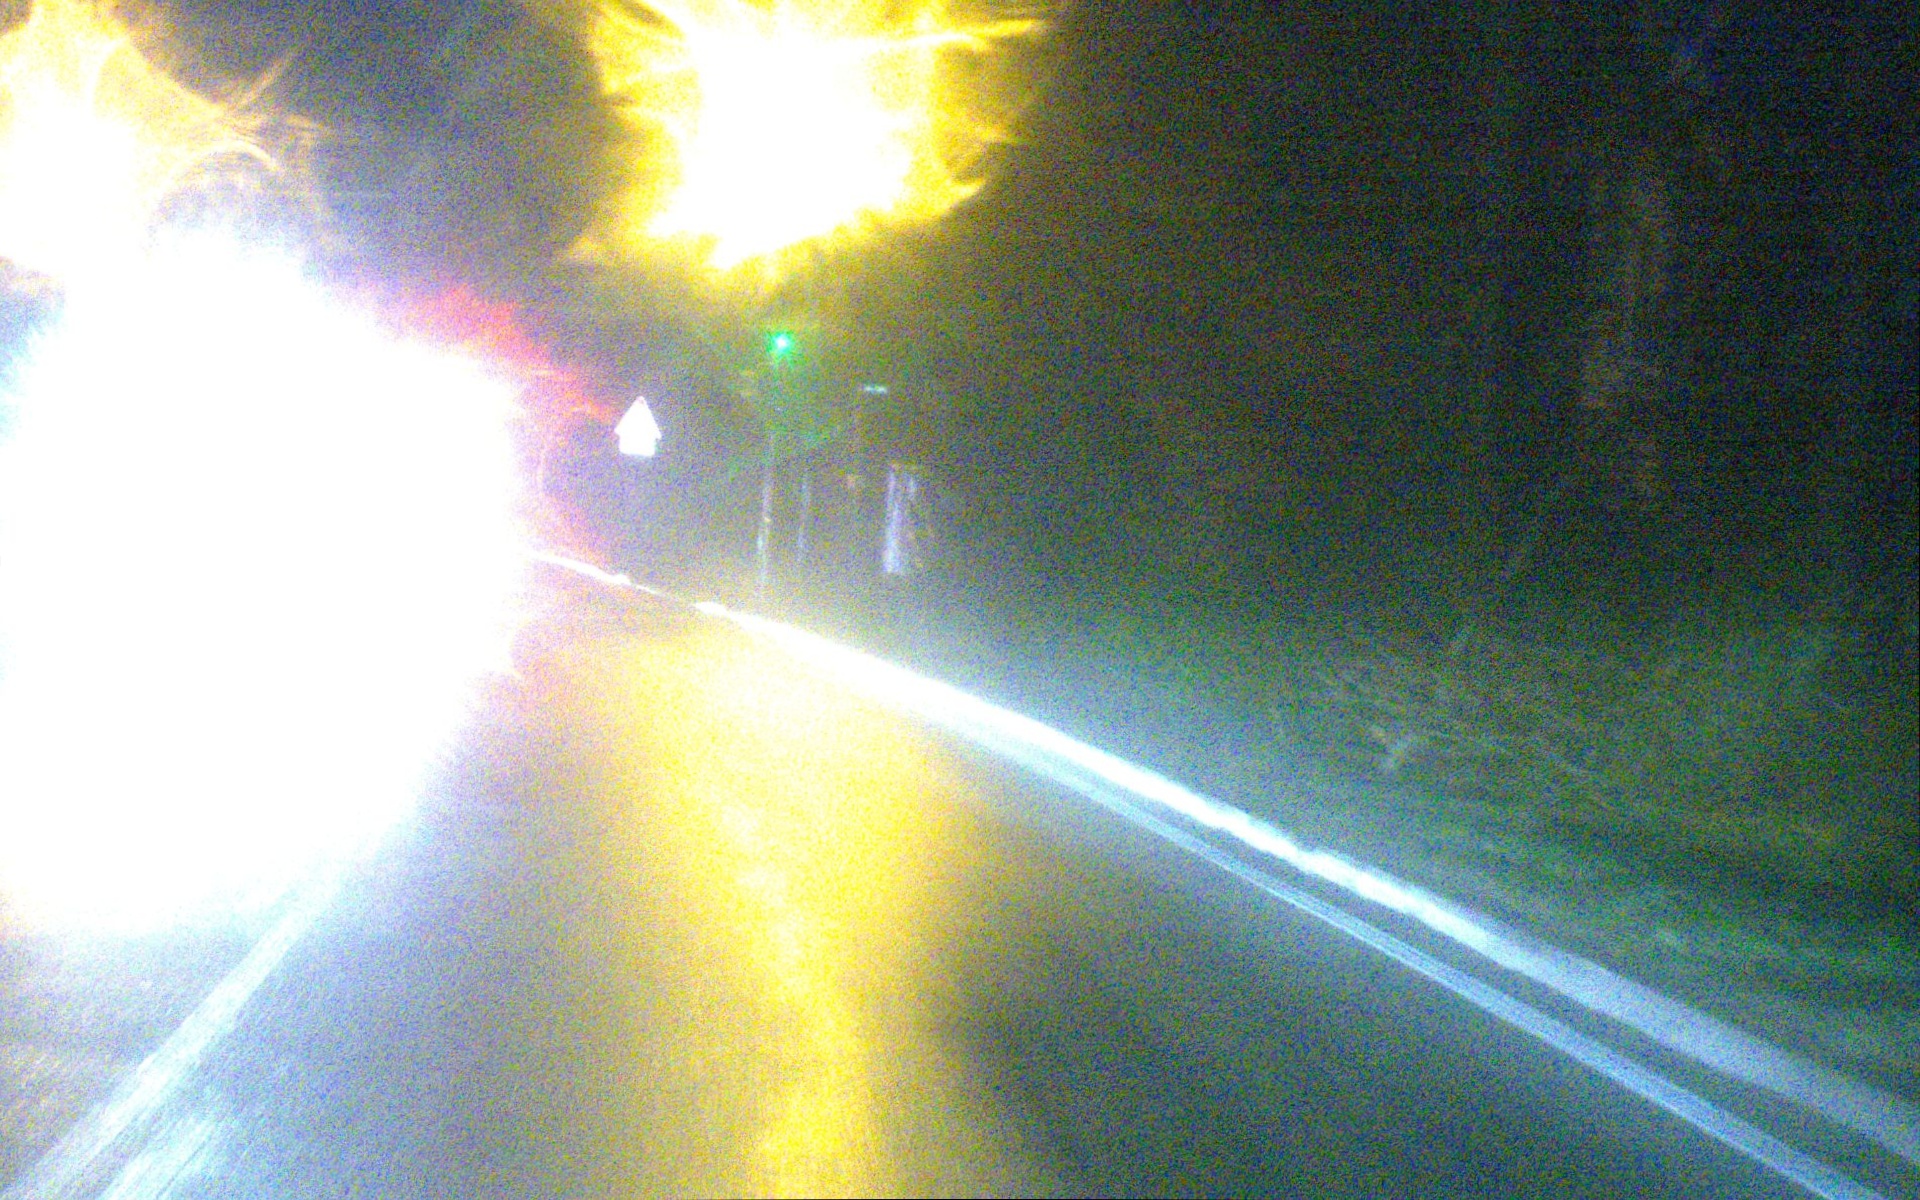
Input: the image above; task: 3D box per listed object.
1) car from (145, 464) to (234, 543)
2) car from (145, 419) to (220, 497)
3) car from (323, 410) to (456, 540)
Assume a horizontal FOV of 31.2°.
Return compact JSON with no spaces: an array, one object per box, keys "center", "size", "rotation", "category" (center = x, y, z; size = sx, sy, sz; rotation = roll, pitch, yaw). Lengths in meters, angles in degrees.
[{"center":[-15.444,-1.931,69.032],"size":[1.635,1.505,4.118],"rotation":[-2,2,-12],"category":"car"},{"center":[-22.009,-4.000,97.367],"size":[1.993,2.007,4.001],"rotation":[2,0,-12],"category":"car"},{"center":[-11.763,-2.612,70.549],"size":[2.538,2.489,5.717],"rotation":[0,4,-11],"category":"car"}]
